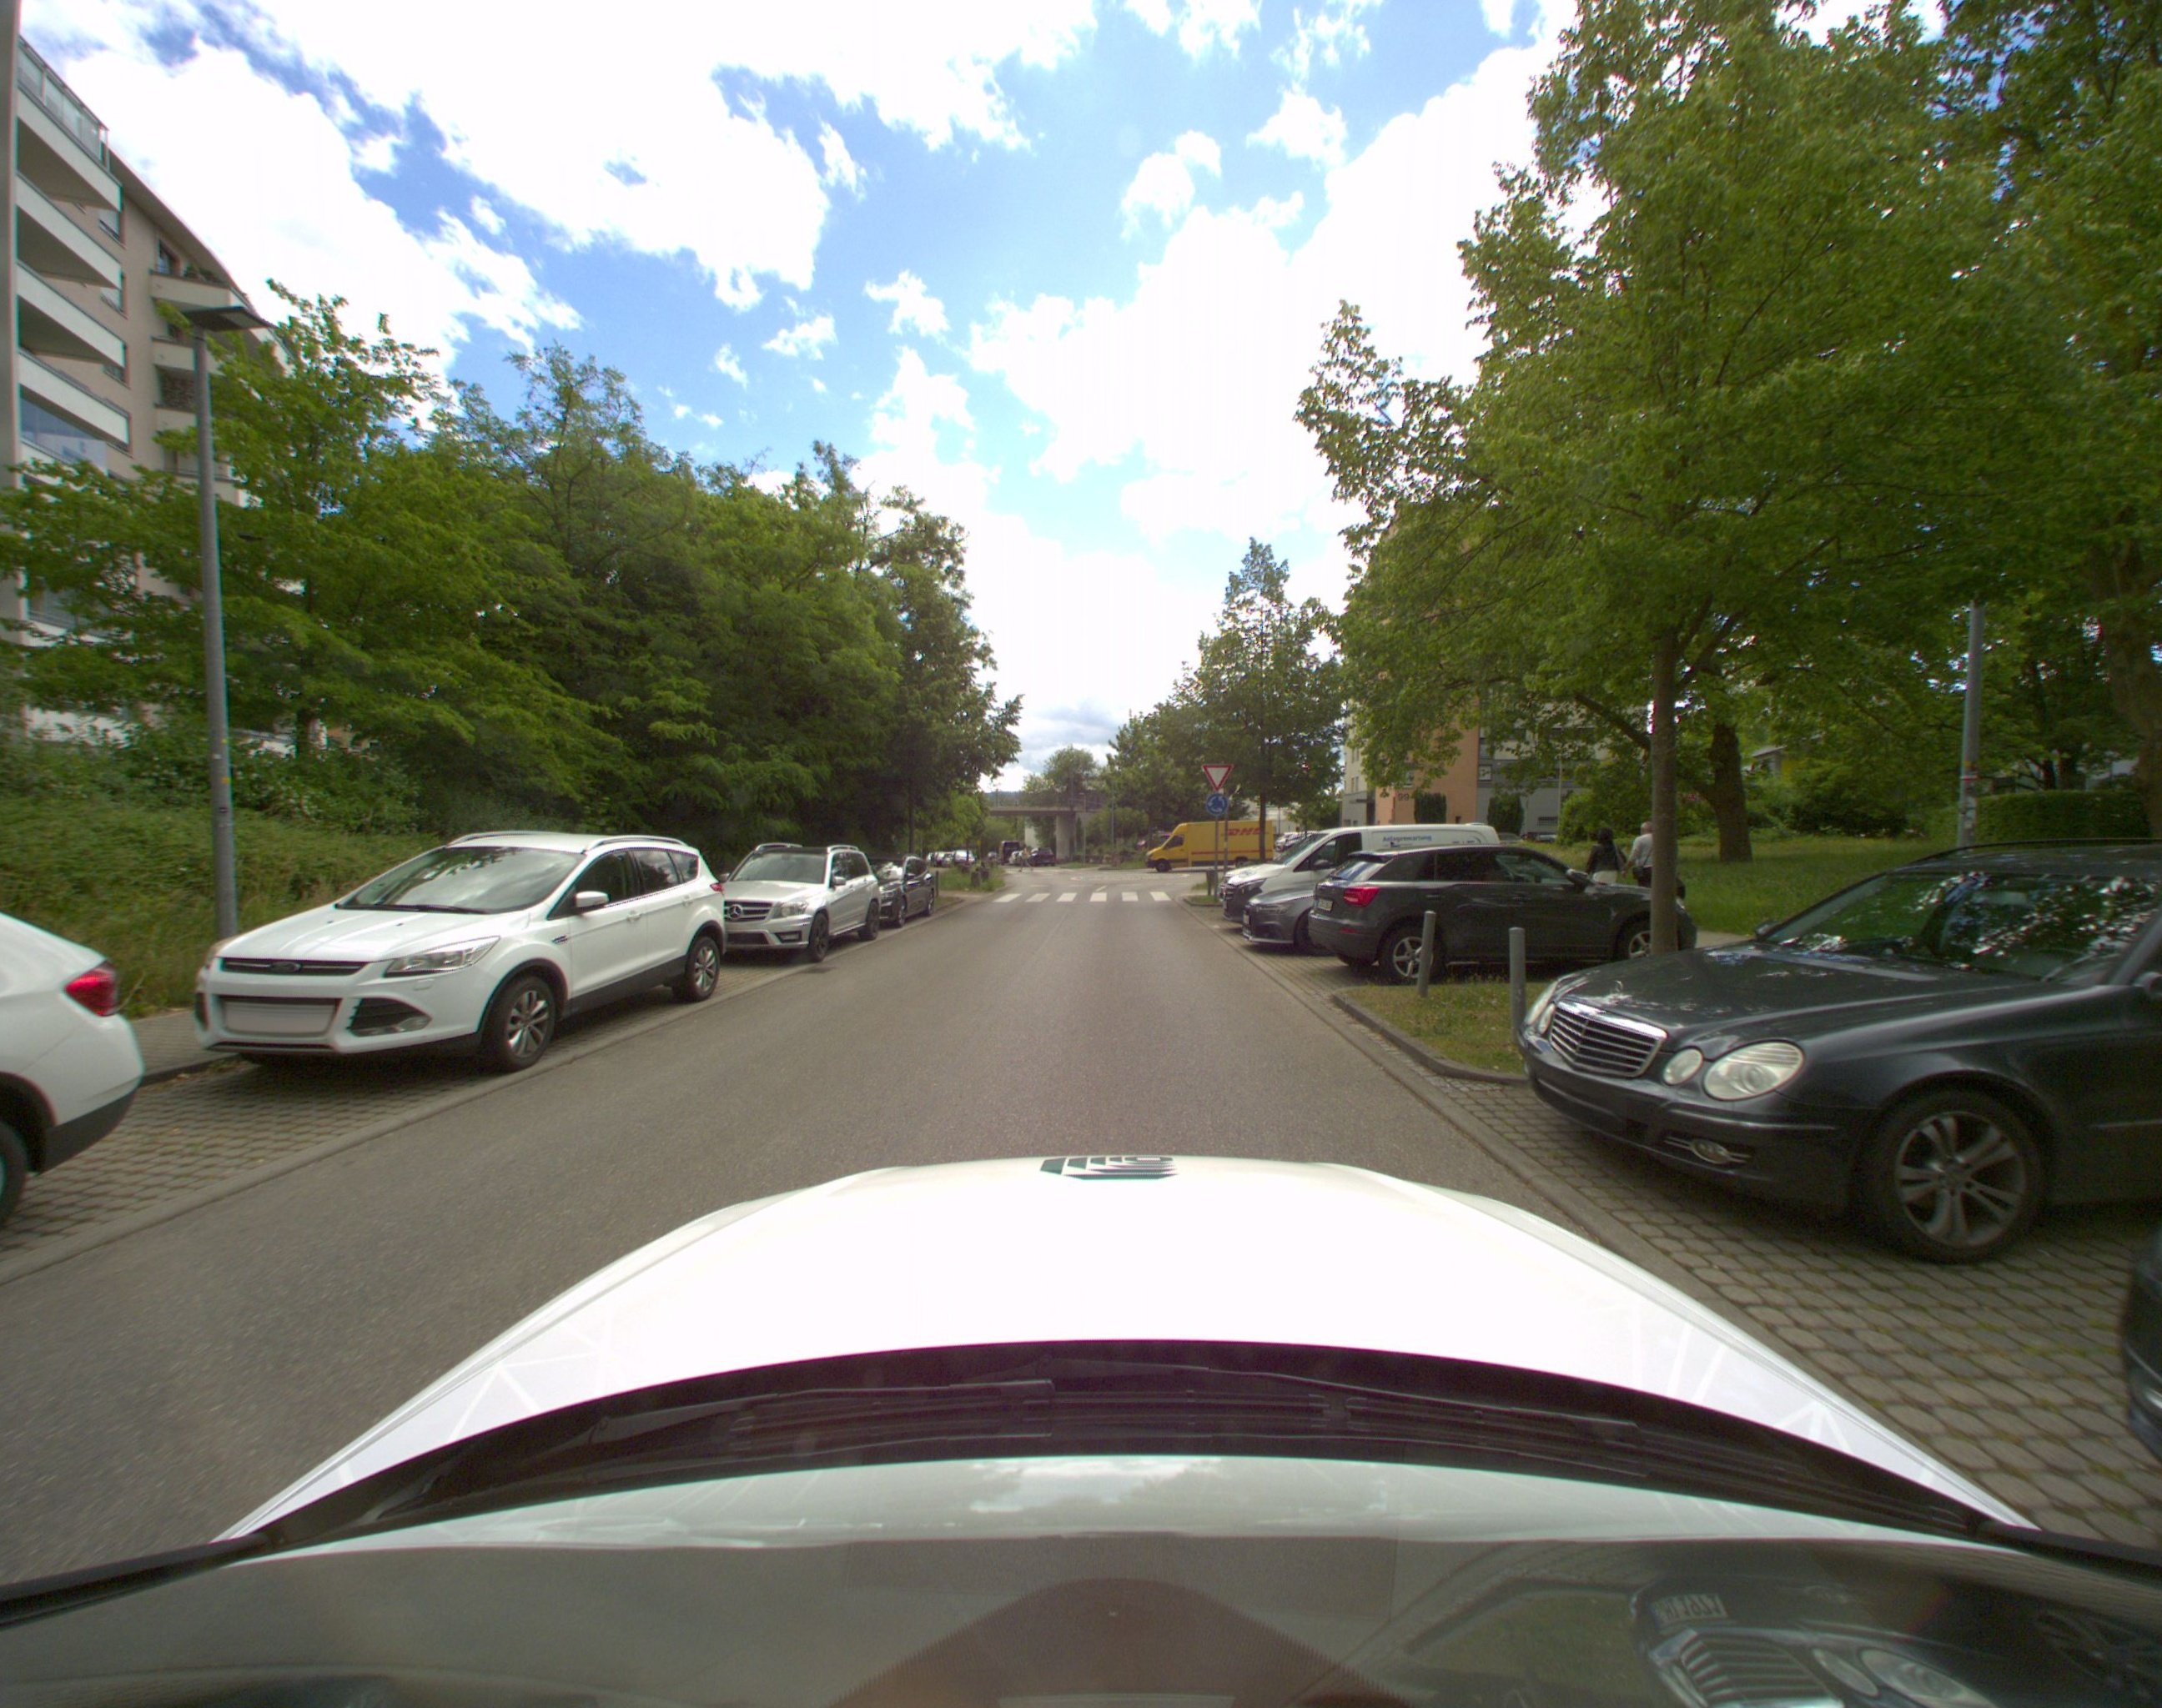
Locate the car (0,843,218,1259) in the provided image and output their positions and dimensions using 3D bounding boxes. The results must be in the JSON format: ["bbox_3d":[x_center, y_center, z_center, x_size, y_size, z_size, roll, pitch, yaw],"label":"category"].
[{"bbox_3d":[-4.943,0.759,1.663,1.683,1.511,4.234,3,1,3],"label":"car"}]

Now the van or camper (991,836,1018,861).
[{"bbox_3d":[-8.304,-0.540,88.387,1.997,2.523,5.444,-3,0,-14],"label":"van or camper"}]

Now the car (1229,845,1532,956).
[{"bbox_3d":[4.254,0.633,12.061,3.810,1.371,1.844,-2,0,1],"label":"car"}]

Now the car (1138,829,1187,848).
[{"bbox_3d":[6.149,-1.163,61.135,3.629,1.439,1.688,0,1,8],"label":"car"}]

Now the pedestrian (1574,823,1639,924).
[{"bbox_3d":[8.763,0.313,13.601,0.686,1.656,0.600,0,1,1],"label":"pedestrian"}]

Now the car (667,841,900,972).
[{"bbox_3d":[-4.397,0.648,12.894,1.792,1.615,4.482,3,1,3],"label":"car"}]

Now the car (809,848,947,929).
[{"bbox_3d":[-4.334,0.649,18.110,1.683,1.465,4.460,3,1,3],"label":"car"}]

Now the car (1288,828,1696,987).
[{"bbox_3d":[4.618,0.550,9.572,3.815,1.519,1.910,-2,0,-3],"label":"car"}]

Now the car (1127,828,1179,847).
[{"bbox_3d":[6.377,-1.434,71.798,4.521,1.668,1.948,0,1,5],"label":"car"}]

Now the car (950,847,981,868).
[{"bbox_3d":[-8.836,0.227,62.130,1.790,1.468,3.978,0,1,-17],"label":"car"}]

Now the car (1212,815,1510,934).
[{"bbox_3d":[4.912,0.340,14.799,4.757,1.831,1.843,-2,0,0],"label":"car"}]

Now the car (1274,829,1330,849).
[{"bbox_3d":[17.468,-1.192,64.577,4.097,1.593,1.696,0,1,7],"label":"car"}]

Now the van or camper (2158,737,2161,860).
[{"bbox_3d":[25.842,-1.223,16.462,4.422,2.798,2.129,1,1,34],"label":"van or camper"}]

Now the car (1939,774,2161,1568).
[{"bbox_3d":[4.063,0.610,1.082,3.976,1.519,1.883,0,0,-2],"label":"car"}]

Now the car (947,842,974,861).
[{"bbox_3d":[-9.919,-0.217,66.703,1.887,1.460,3.530,0,1,-13],"label":"car"}]

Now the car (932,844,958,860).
[{"bbox_3d":[-13.137,-0.192,78.319,1.889,1.509,4.425,0,0,-18],"label":"car"}]

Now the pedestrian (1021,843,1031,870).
[{"bbox_3d":[-3.569,0.153,52.910,0.656,1.721,0.739,0,1,-2],"label":"pedestrian"}]

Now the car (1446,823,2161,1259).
[{"bbox_3d":[4.471,0.616,3.925,4.563,1.492,1.950,-1,0,-2],"label":"car"}]

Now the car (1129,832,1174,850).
[{"bbox_3d":[5.809,-1.060,66.983,3.629,1.498,1.688,0,1,8],"label":"car"}]

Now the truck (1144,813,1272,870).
[{"bbox_3d":[7.053,-0.636,45.200,6.757,2.702,2.482,-3,-1,11],"label":"truck"}]

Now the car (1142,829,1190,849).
[{"bbox_3d":[7.242,-1.277,69.195,3.967,1.613,1.948,0,1,5],"label":"car"}]

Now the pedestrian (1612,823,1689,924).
[{"bbox_3d":[9.485,0.314,13.577,0.866,1.656,0.593,0,1,1],"label":"pedestrian"}]

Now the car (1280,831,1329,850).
[{"bbox_3d":[18.978,-1.153,69.287,3.952,1.517,1.764,0,1,14],"label":"car"}]

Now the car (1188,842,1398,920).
[{"bbox_3d":[4.486,0.543,17.654,4.136,1.602,1.739,0,1,1],"label":"car"}]

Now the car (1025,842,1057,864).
[{"bbox_3d":[-3.524,-0.079,71.303,1.817,1.678,4.346,-1,-3,-16],"label":"car"}]

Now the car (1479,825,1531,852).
[{"bbox_3d":[25.026,-0.931,48.203,1.626,1.482,3.787,-1,1,9],"label":"car"}]

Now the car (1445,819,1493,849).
[{"bbox_3d":[22.902,-1.168,48.187,1.558,1.658,3.787,-2,1,9],"label":"car"}]

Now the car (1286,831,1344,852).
[{"bbox_3d":[17.116,-0.903,59.692,4.013,1.517,1.762,0,1,12],"label":"car"}]

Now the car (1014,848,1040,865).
[{"bbox_3d":[-5.148,0.227,77.636,1.702,1.496,4.098,-2,0,-15],"label":"car"}]

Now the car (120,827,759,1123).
[{"bbox_3d":[-4.695,0.666,7.042,1.800,1.664,4.440,3,1,3],"label":"car"}]
